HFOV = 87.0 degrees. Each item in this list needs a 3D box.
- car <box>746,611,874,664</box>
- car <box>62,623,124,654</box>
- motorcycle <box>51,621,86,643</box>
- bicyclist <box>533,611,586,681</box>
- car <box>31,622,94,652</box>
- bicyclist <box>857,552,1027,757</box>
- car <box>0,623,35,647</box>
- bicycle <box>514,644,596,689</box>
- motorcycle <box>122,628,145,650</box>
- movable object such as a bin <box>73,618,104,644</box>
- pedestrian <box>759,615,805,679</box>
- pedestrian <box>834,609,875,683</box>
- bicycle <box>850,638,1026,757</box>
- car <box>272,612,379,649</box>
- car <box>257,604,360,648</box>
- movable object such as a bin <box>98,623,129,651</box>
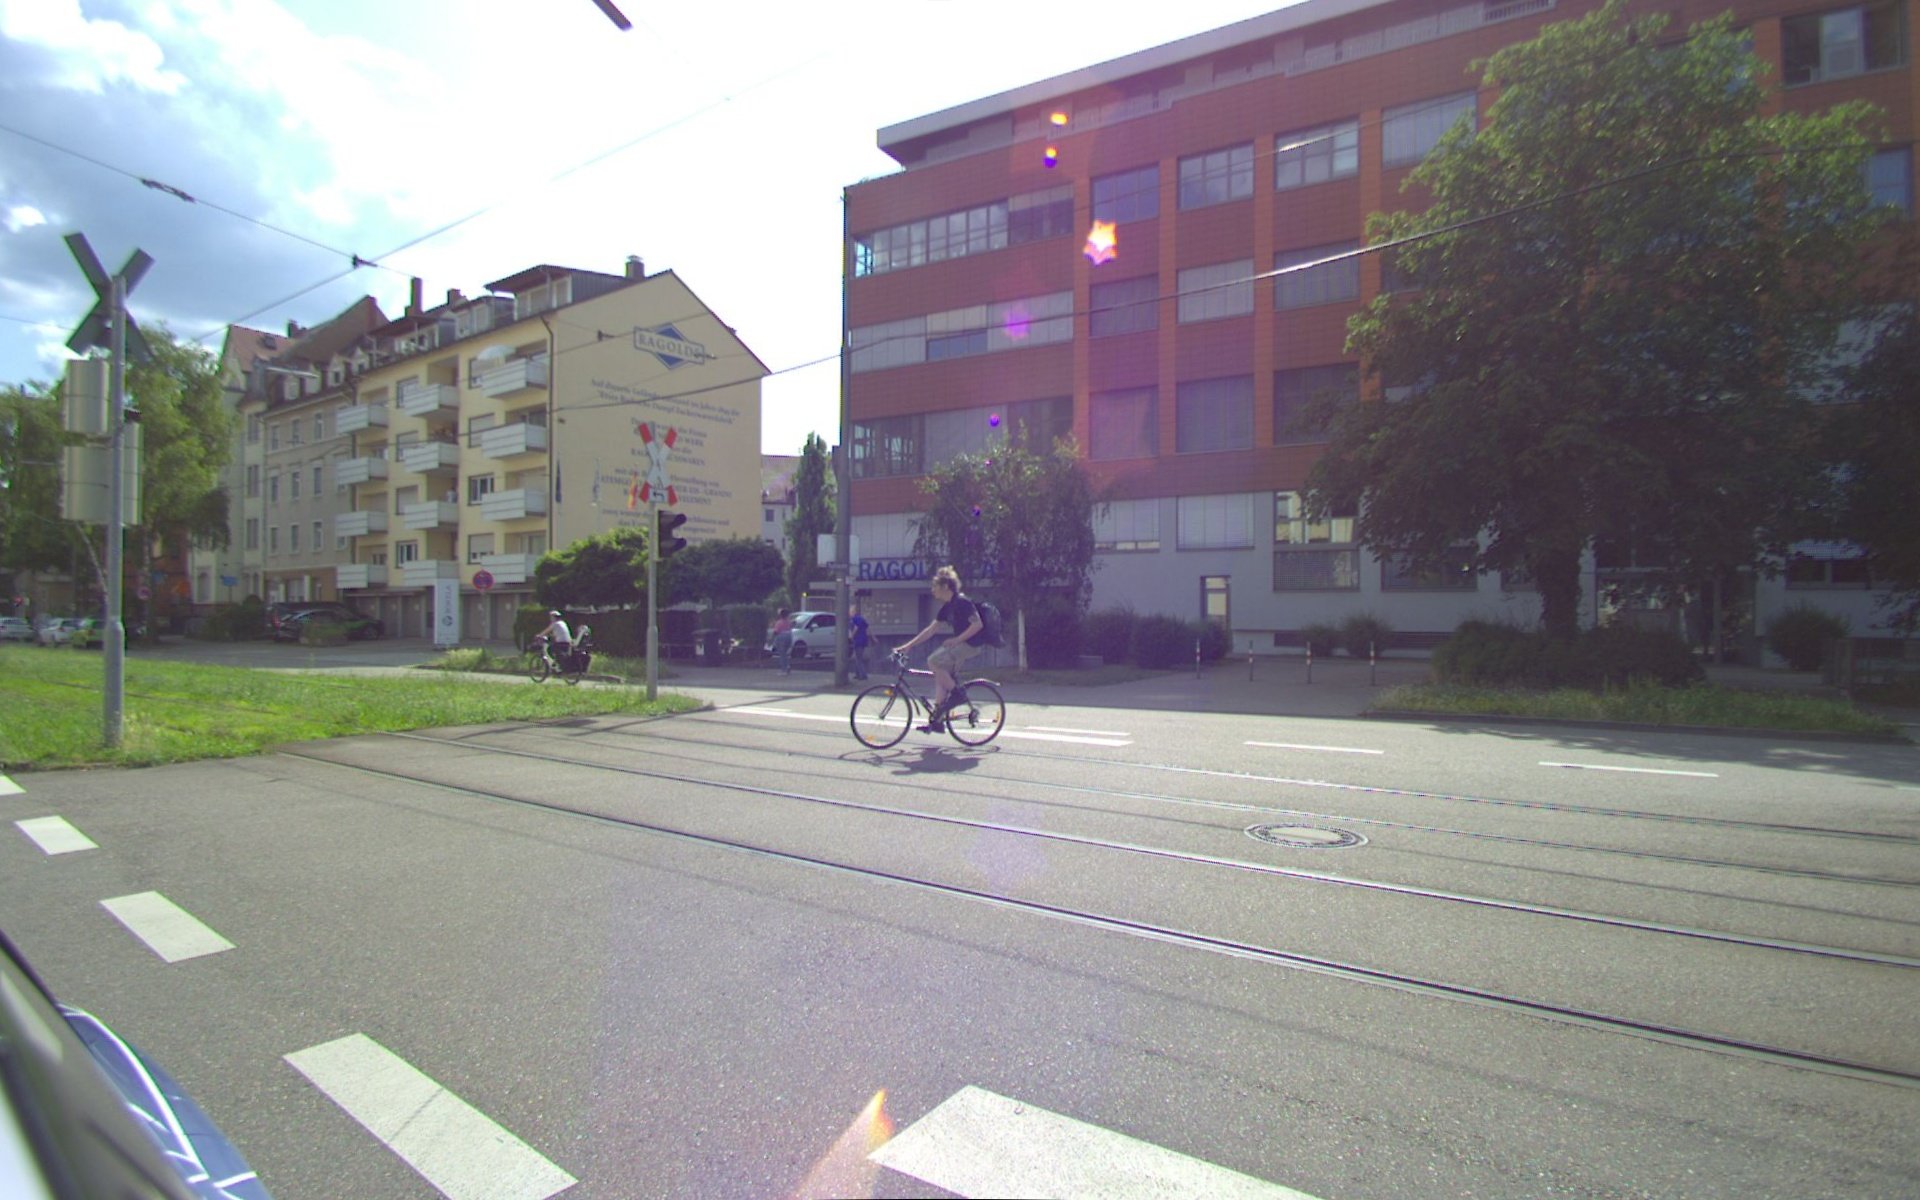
[{"bbox_3d":[-4.794,1.162,32.750,1.995,1.608,3.954,-1,-1,34],"label":"car"},{"bbox_3d":[-41.943,1.866,48.947,3.609,1.443,1.579,-1,-2,38],"label":"car"},{"bbox_3d":[-53.015,1.906,60.180,2.286,1.252,0.894,-1,-2,31],"label":"motorcycle"},{"bbox_3d":[-9.246,1.052,23.357,0.861,1.594,0.778,-1,-2,34],"label":"bicyclist"},{"bbox_3d":[-46.036,1.875,51.897,4.219,1.489,1.629,-1,-3,38],"label":"car"},{"bbox_3d":[-0.181,0.561,10.802,1.566,2.029,0.943,0,-2,24],"label":"bicyclist"},{"bbox_3d":[-56.469,2.074,60.052,3.990,1.366,1.738,-1,-2,39],"label":"car"},{"bbox_3d":[-9.397,1.514,23.435,2.173,0.978,0.675,-1,-2,35],"label":"bicycle"},{"bbox_3d":[-42.236,1.993,51.685,1.629,1.050,0.495,0,3,37],"label":"motorcycle"},{"bbox_3d":[-50.508,1.788,58.649,1.519,1.377,0.942,-1,3,36],"label":"movable object such as a bin"},{"bbox_3d":[-4.540,1.191,25.828,0.888,1.585,0.738,1,-1,39],"label":"pedestrian"},{"bbox_3d":[-2.426,1.047,23.300,0.746,1.669,0.551,-1,-2,39],"label":"pedestrian"},{"bbox_3d":[-0.276,1.008,10.840,1.760,1.187,1.159,1,-2,-7],"label":"bicycle"},{"bbox_3d":[-30.779,1.457,49.181,1.969,1.614,3.951,-1,0,37],"label":"car"},{"bbox_3d":[-32.813,1.265,51.046,1.935,2.029,3.947,-1,0,40],"label":"car"},{"bbox_3d":[-45.624,1.998,54.524,1.519,1.440,0.942,-1,1,36],"label":"movable object such as a bin"}]
